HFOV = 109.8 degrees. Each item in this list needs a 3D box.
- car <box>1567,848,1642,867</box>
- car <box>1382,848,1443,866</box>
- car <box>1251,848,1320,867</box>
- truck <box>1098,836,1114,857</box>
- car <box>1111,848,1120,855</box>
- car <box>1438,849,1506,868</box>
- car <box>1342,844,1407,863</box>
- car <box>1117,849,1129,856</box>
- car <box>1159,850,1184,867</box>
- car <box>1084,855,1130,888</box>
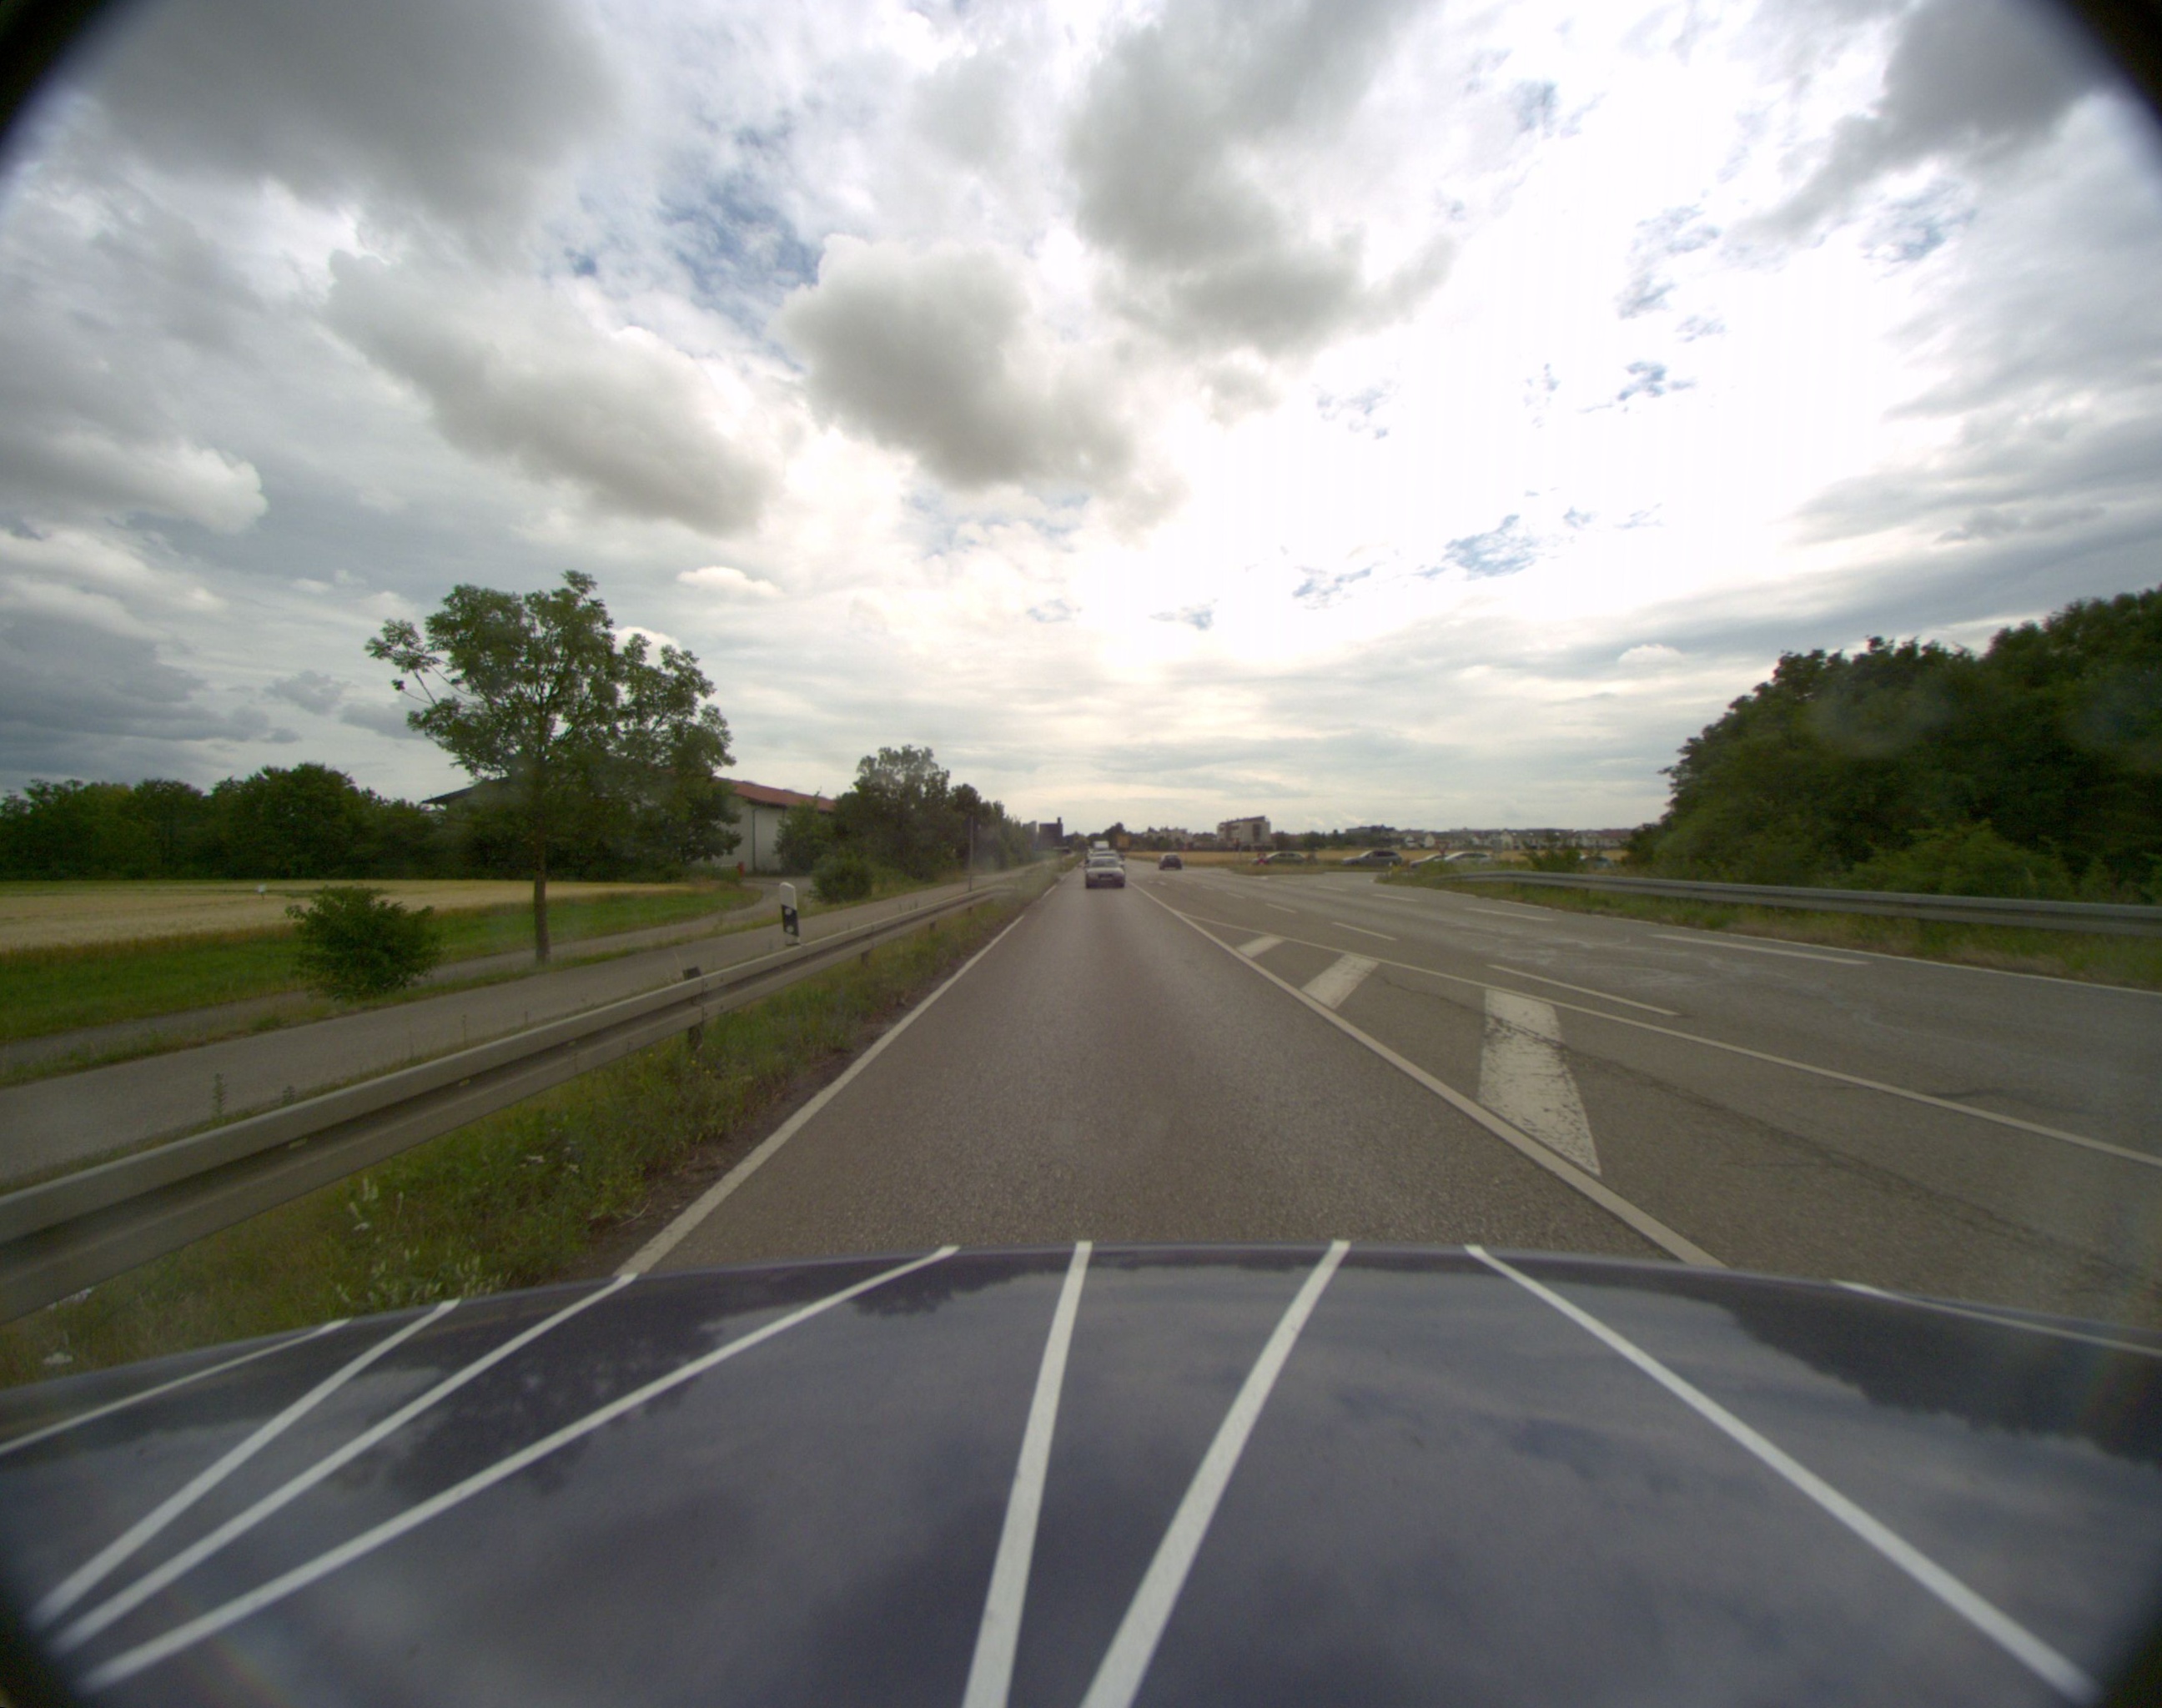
[{"bbox_3d":[41.006,0.254,59.580,4.499,1.474,1.912,0,1,7],"label":"car"},{"bbox_3d":[28.163,0.221,64.661,4.406,1.474,1.912,0,1,7],"label":"car"},{"bbox_3d":[16.967,0.306,63.230,5.295,1.512,1.912,0,1,7],"label":"car"},{"bbox_3d":[4.449,-1.399,137.005,2.813,3.588,11.218,0,1,2],"label":"truck"},{"bbox_3d":[7.848,-0.674,172.905,1.746,1.521,4.198,-1,0,-1],"label":"car"},{"bbox_3d":[31.301,0.375,60.966,4.499,1.474,1.912,0,1,7],"label":"car"},{"bbox_3d":[24.053,-0.043,62.410,4.632,1.508,1.912,0,1,7],"label":"car"},{"bbox_3d":[8.487,-0.382,153.544,2.170,1.277,4.237,-2,1,0],"label":"car"},{"bbox_3d":[7.915,0.398,66.531,1.867,1.368,4.000,-2,1,3],"label":"car"},{"bbox_3d":[1.286,0.771,35.628,1.909,1.416,4.466,0,1,5],"label":"car"}]
